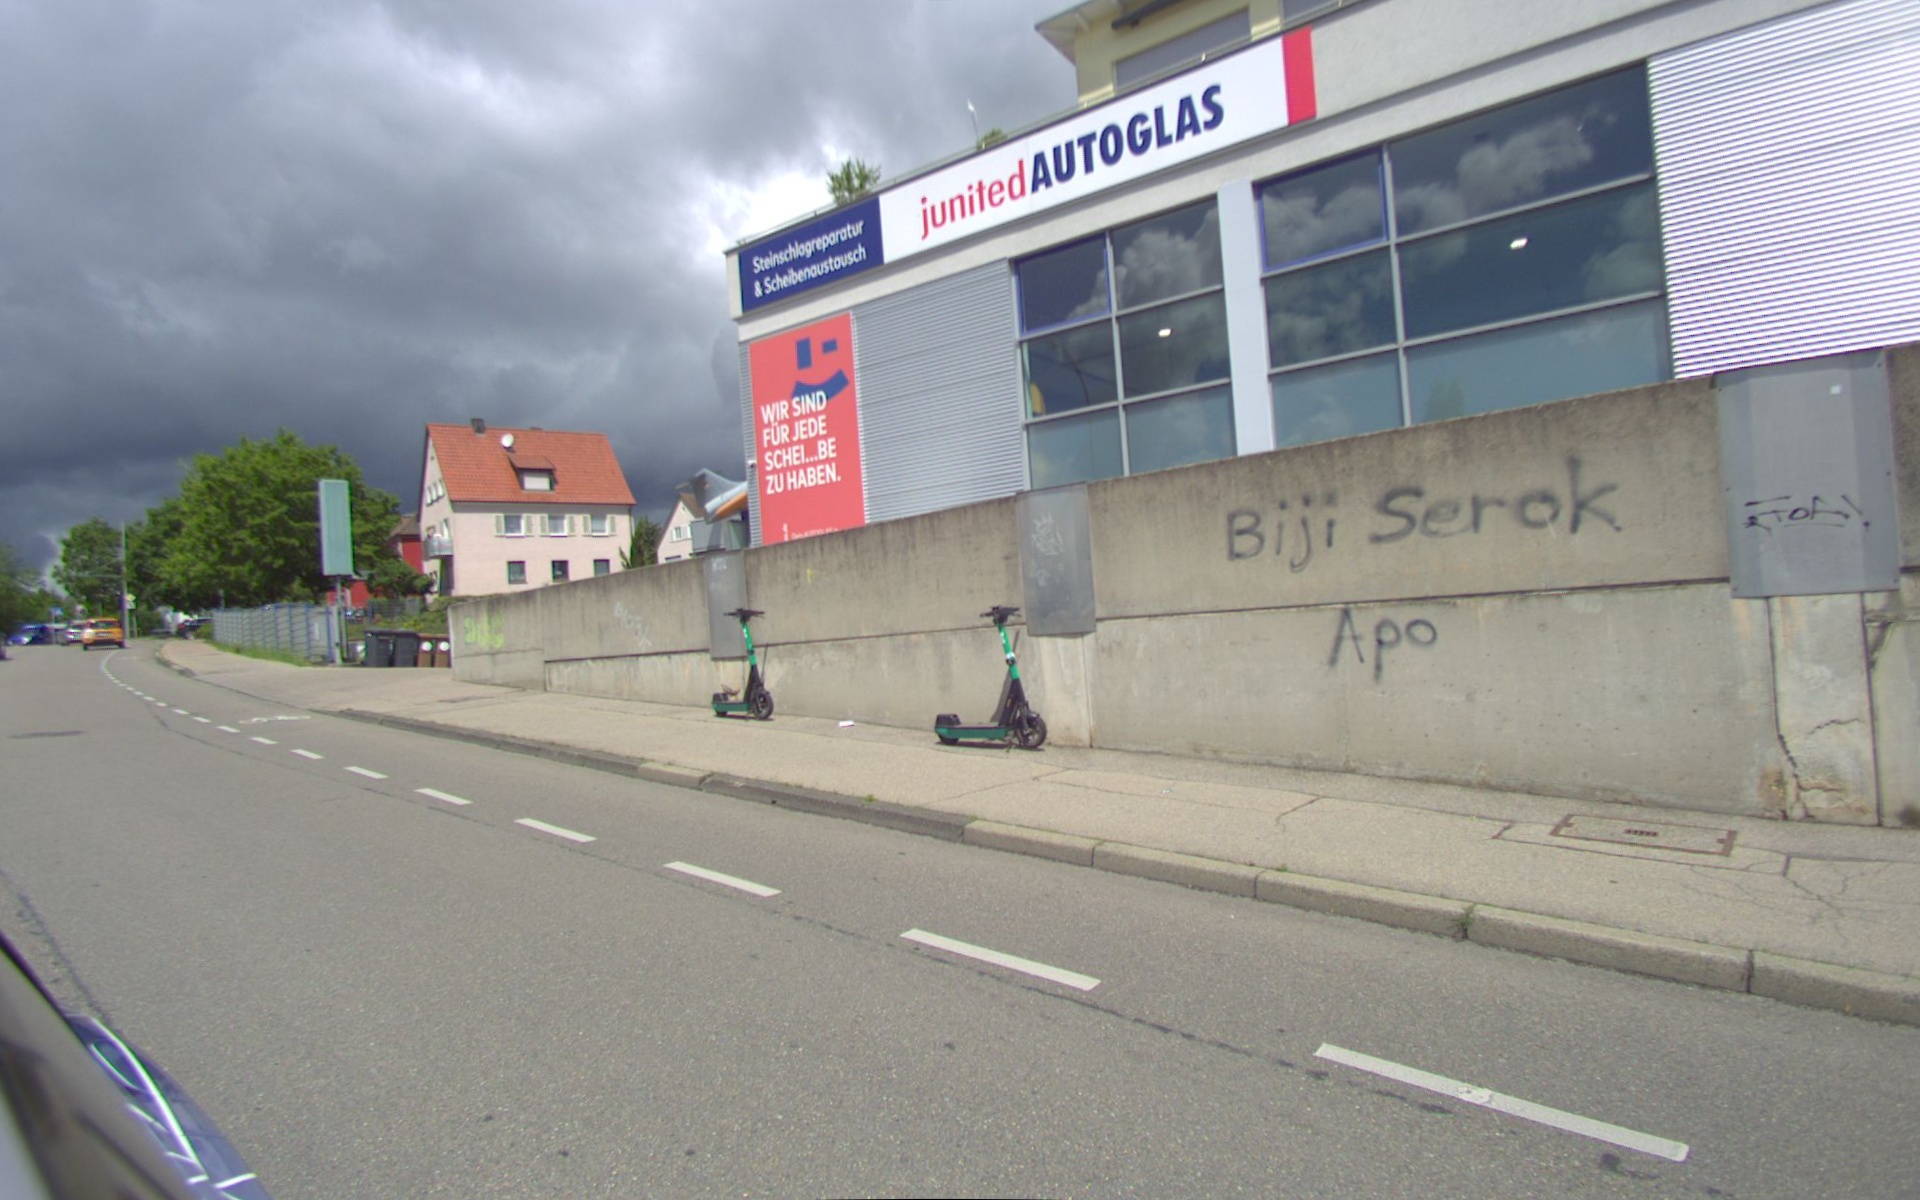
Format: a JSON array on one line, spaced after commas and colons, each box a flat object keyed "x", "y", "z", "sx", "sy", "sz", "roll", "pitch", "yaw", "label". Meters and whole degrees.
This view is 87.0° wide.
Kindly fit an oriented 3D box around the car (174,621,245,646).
[{"x": -51.103, "y": 2.246, "z": 68.918, "sx": 3.797, "sy": 1.517, "sz": 1.589, "roll": -2, "pitch": 0, "yaw": -38, "label": "car"}]

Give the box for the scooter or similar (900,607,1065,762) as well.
[{"x": 0.194, "y": 0.737, "z": 9.179, "sx": 1.379, "sy": 1.285, "sz": 0.515, "roll": -2, "pitch": 2, "yaw": 34, "label": "scooter or similar"}]

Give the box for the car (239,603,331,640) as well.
[{"x": -36.648, "y": 1.140, "z": 55.019, "sx": 3.899, "sy": 1.789, "sz": 1.524, "roll": -2, "pitch": 0, "yaw": -45, "label": "car"}]

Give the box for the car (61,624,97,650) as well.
[{"x": -56.042, "y": 2.344, "z": 64.378, "sx": 1.623, "sy": 1.544, "sz": 4.227, "roll": -2, "pitch": 0, "yaw": -42, "label": "car"}]

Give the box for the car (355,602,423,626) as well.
[{"x": -39.841, "y": 0.960, "z": 70.658, "sx": 3.956, "sy": 1.517, "sz": 1.589, "roll": -2, "pitch": 0, "yaw": -38, "label": "car"}]

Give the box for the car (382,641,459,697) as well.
[{"x": -16.677, "y": 2.081, "z": 31.220, "sx": 1.413, "sy": 1.470, "sz": 3.368, "roll": -2, "pitch": 0, "yaw": -40, "label": "car"}]

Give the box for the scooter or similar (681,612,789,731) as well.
[{"x": -2.621, "y": 0.800, "z": 11.717, "sx": 1.306, "sy": 1.285, "sz": 0.551, "roll": -1, "pitch": 0, "yaw": 43, "label": "scooter or similar"}]

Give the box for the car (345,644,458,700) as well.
[{"x": -24.033, "y": 3.037, "z": 43.616, "sx": 3.939, "sy": 2.029, "sz": 1.854, "roll": -2, "pitch": 0, "yaw": -42, "label": "car"}]

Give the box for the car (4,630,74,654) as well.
[{"x": -85.305, "y": 3.871, "z": 93.860, "sx": 1.933, "sy": 1.984, "sz": 5.134, "roll": -2, "pitch": 0, "yaw": -3, "label": "car"}]

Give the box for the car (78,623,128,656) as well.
[{"x": -42.820, "y": 1.926, "z": 50.634, "sx": 1.580, "sy": 1.502, "sz": 3.690, "roll": -2, "pitch": 0, "yaw": -36, "label": "car"}]

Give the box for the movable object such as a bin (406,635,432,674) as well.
[{"x": -14.946, "y": 1.506, "z": 27.953, "sx": 0.496, "sy": 1.068, "sz": 0.498, "roll": 3, "pitch": -4, "yaw": -45, "label": "movable object such as a bin"}]

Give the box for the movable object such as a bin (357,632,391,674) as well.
[{"x": -15.681, "y": 1.418, "z": 27.069, "sx": 0.655, "sy": 1.089, "sz": 0.517, "roll": 3, "pitch": -4, "yaw": -45, "label": "movable object such as a bin"}]

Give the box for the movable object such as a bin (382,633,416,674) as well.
[{"x": -15.231, "y": 1.452, "z": 27.466, "sx": 0.655, "sy": 1.089, "sz": 0.517, "roll": 3, "pitch": -4, "yaw": -45, "label": "movable object such as a bin"}]

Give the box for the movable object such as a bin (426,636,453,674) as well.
[{"x": -14.533, "y": 1.530, "z": 28.250, "sx": 0.508, "sy": 1.053, "sz": 0.517, "roll": 3, "pitch": -4, "yaw": -45, "label": "movable object such as a bin"}]
